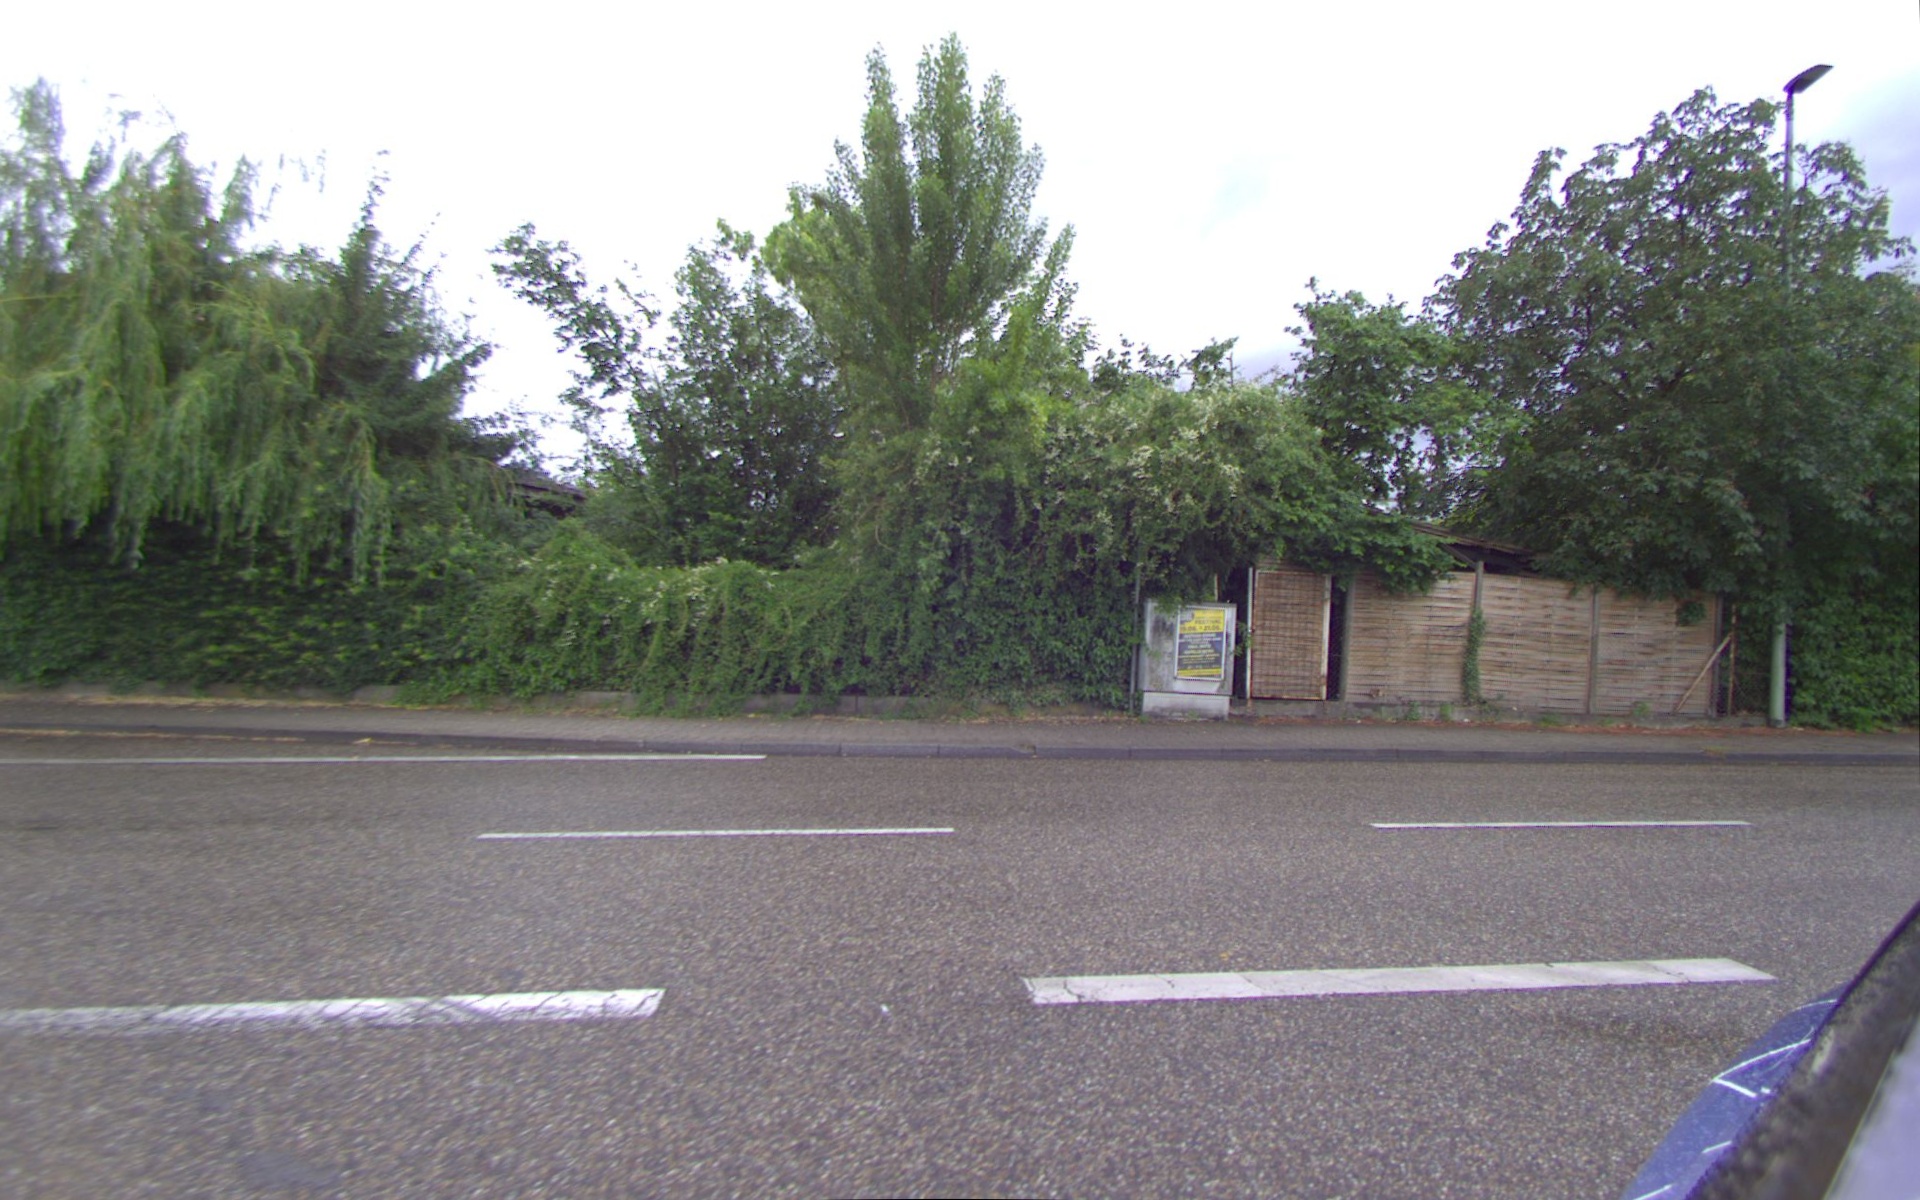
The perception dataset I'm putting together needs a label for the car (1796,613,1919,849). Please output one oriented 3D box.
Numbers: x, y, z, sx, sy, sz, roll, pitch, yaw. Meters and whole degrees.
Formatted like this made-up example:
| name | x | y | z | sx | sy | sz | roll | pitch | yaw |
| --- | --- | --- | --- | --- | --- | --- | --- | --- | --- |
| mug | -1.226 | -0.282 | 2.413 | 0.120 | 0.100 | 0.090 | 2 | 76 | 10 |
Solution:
| name | x | y | z | sx | sy | sz | roll | pitch | yaw |
| --- | --- | --- | --- | --- | --- | --- | --- | --- | --- |
| car | 8.321 | 0.858 | 6.545 | 4.623 | 1.478 | 1.798 | 1 | -1 | -7 |
